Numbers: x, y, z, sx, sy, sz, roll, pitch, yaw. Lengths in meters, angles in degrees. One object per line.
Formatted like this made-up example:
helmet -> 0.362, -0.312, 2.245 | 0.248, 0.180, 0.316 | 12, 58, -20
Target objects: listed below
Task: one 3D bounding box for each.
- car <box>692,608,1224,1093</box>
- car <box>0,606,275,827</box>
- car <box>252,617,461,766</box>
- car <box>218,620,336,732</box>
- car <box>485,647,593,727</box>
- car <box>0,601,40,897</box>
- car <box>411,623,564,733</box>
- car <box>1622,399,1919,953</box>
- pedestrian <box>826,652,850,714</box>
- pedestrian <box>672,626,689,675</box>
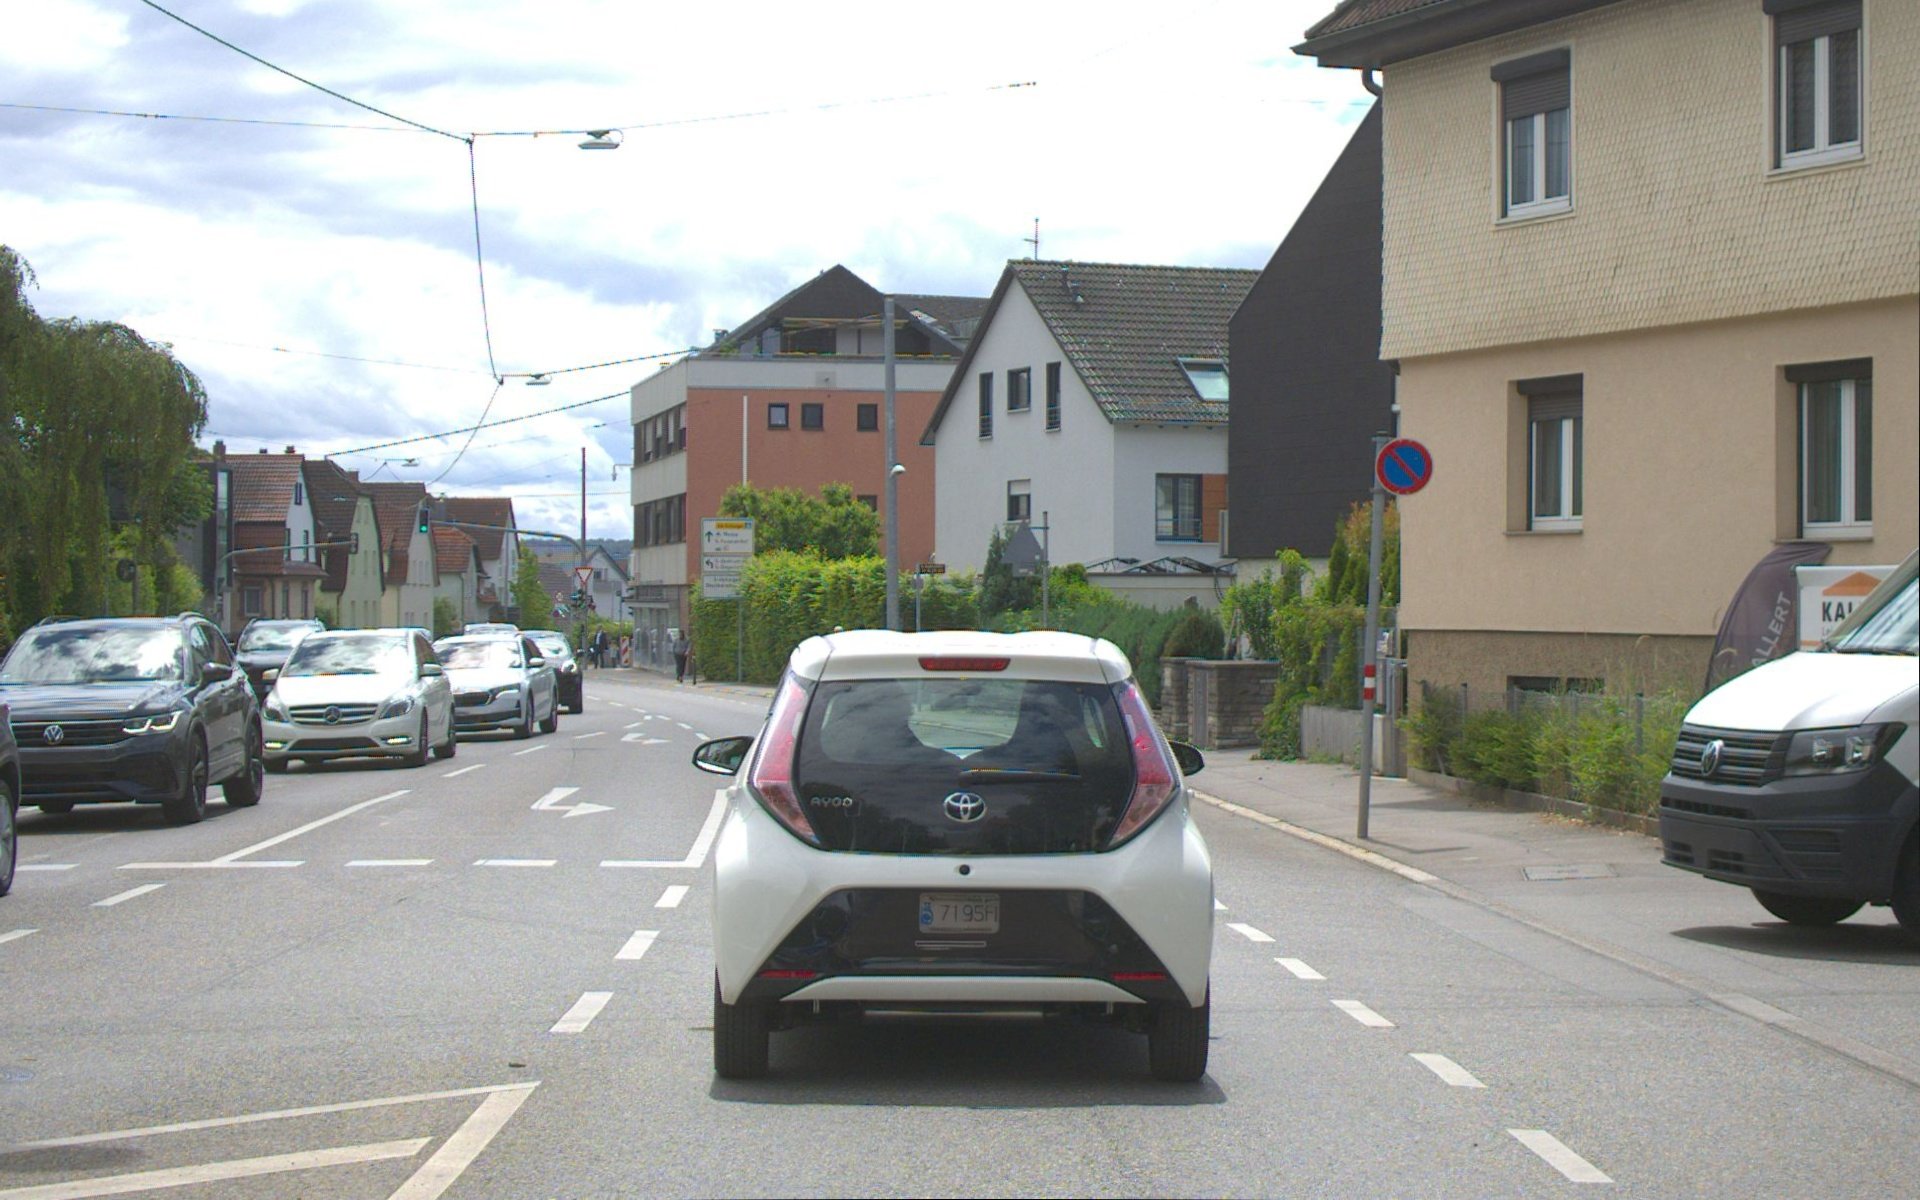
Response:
car -> -0.156, 0.807, 12.552 | 1.621, 1.481, 4.000 | 0, -1, -5
car -> -6.741, 0.907, 27.596 | 1.775, 1.598, 4.169 | -2, -1, -2
car -> -6.788, 1.018, 39.032 | 1.775, 1.556, 4.169 | -2, -1, -2
car -> -11.840, 1.322, 59.797 | 1.774, 1.840, 4.009 | -1, -1, -8
car -> -7.850, 1.611, 64.401 | 1.775, 1.425, 4.009 | -1, -1, -4
car -> -6.030, 0.799, 17.449 | 1.775, 1.598, 4.039 | -1, -1, -2
car -> -6.614, 1.090, 48.485 | 1.775, 1.425, 4.522 | -2, -1, -4
car -> 6.612, 0.426, 17.554 | 5.994, 2.573, 2.000 | 1, -1, -12
pedestrian -> -2.849, 1.929, 80.130 | 0.413, 1.433, 0.438 | 2, -1, -16
pedestrian -> -8.344, 1.513, 102.623 | 0.413, 1.433, 0.438 | 2, -1, -9
